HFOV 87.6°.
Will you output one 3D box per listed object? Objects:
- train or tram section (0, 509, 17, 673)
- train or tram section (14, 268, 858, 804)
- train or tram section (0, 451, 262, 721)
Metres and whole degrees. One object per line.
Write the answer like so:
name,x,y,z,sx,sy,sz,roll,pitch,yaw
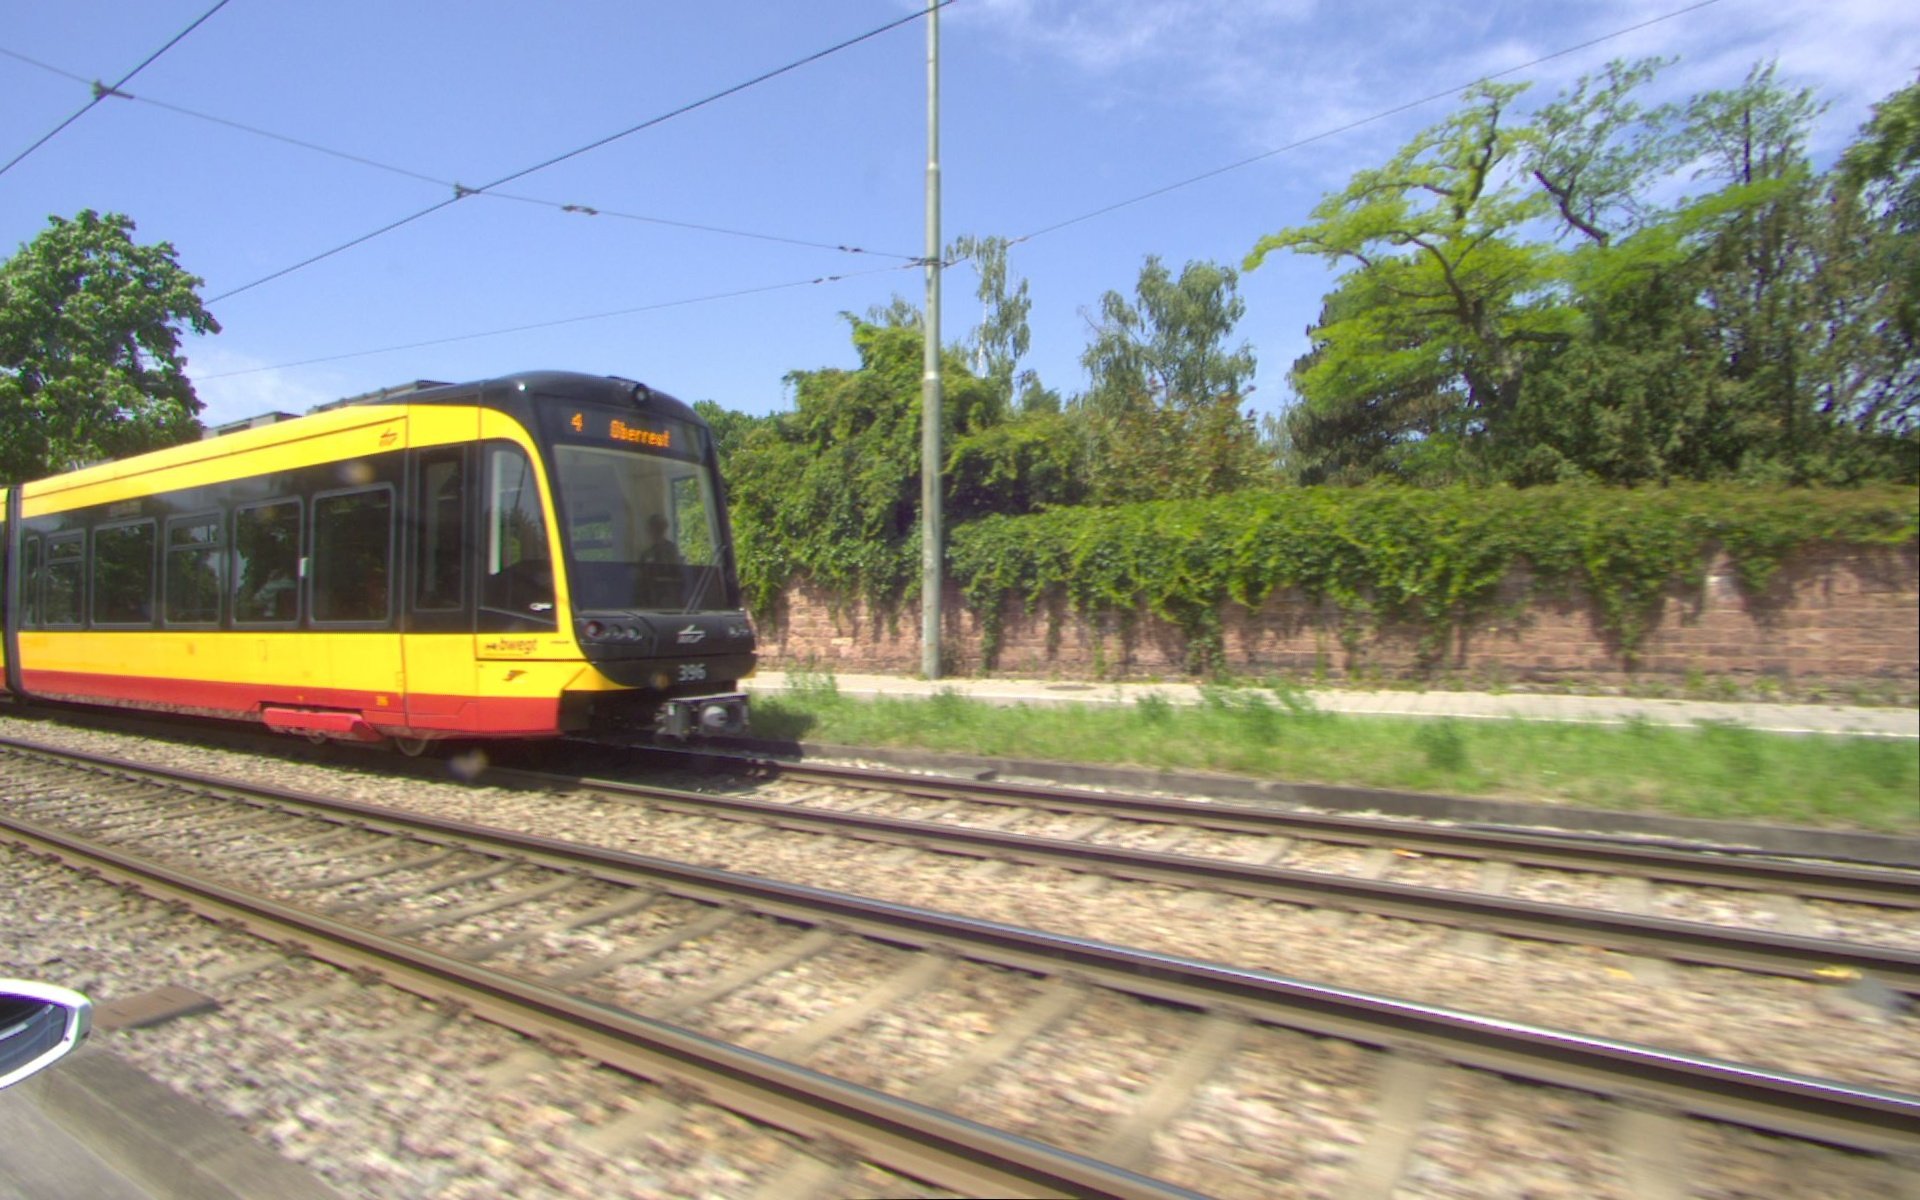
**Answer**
train or tram section,-28.510,-0.153,25.959,12.580,3.848,3.021,-1,0,33
train or tram section,-7.209,-0.387,11.991,12.904,3.848,3.021,-1,0,33
train or tram section,-17.962,-0.127,19.075,12.904,3.848,3.021,-1,0,33
